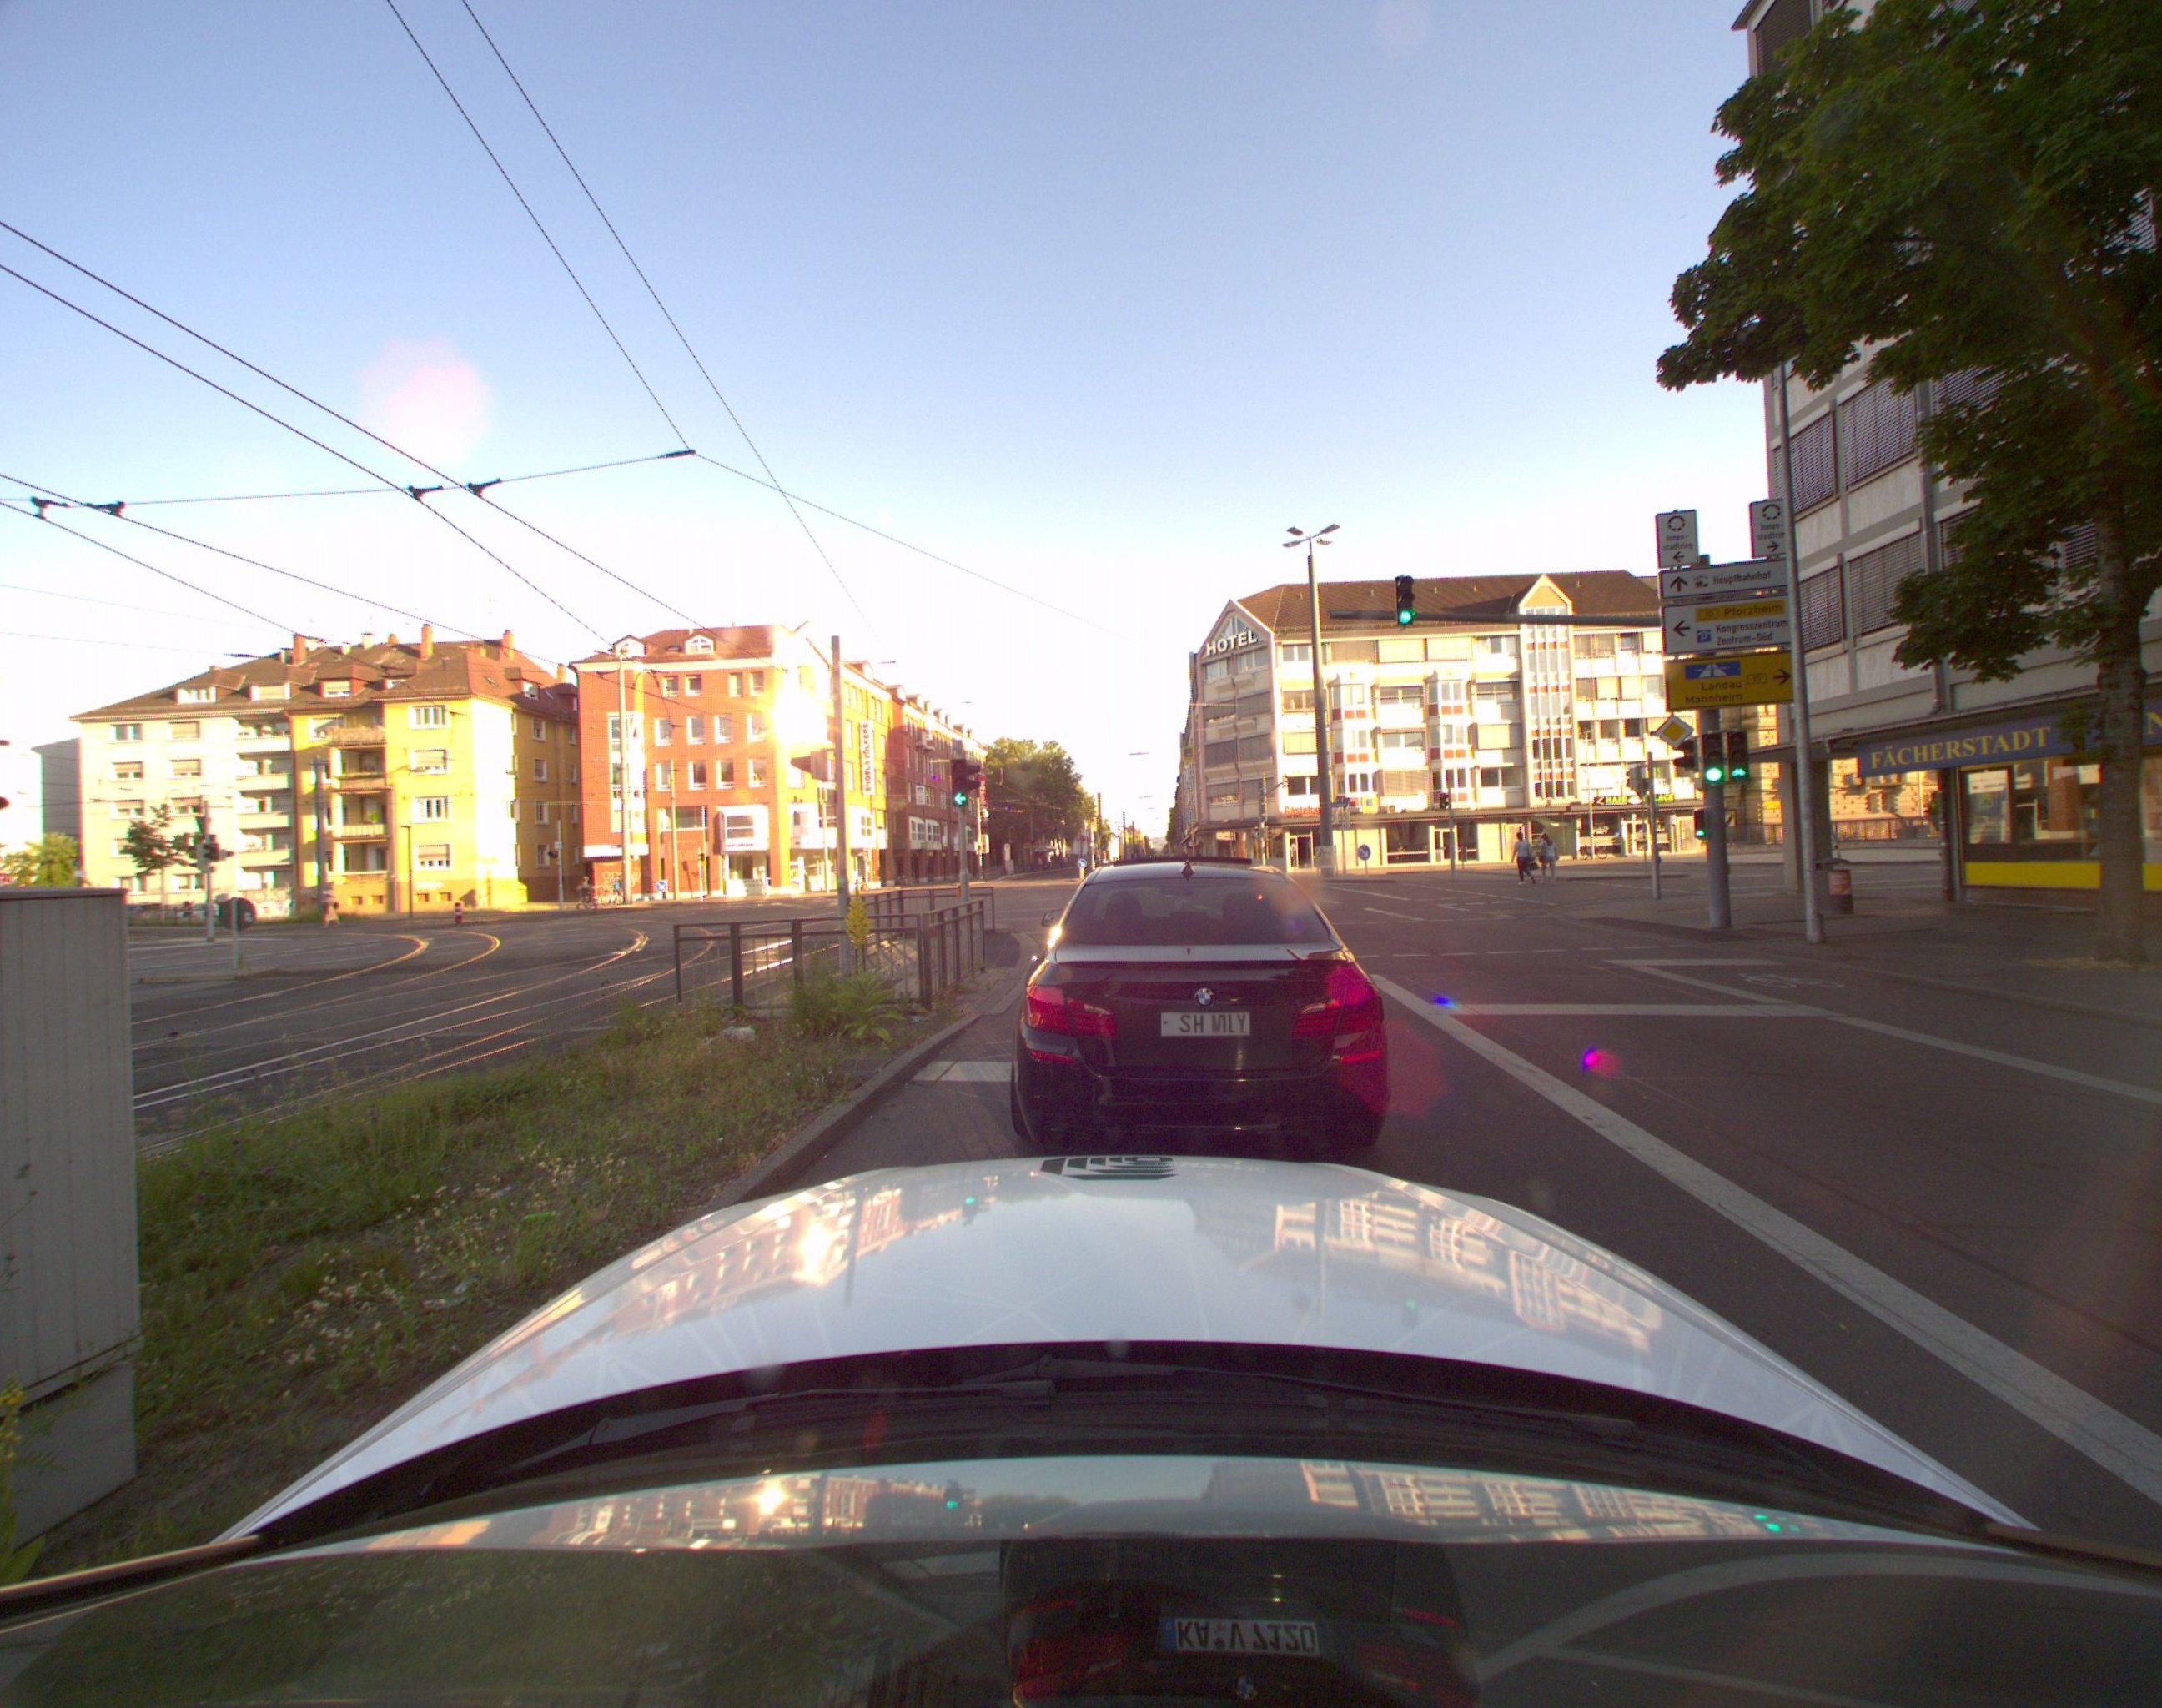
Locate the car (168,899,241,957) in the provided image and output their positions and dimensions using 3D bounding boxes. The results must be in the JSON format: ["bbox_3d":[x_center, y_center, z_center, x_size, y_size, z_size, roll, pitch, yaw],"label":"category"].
[{"bbox_3d":[-58.381,4.910,54.257,1.404,3.553,1.742,32,1,9],"label":"car"}]

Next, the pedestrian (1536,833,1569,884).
[{"bbox_3d":[15.116,0.130,26.126,0.696,1.582,0.831,-3,-1,41],"label":"pedestrian"}]

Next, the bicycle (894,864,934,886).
[{"bbox_3d":[-15.044,1.889,73.460,3.282,1.726,1.070,-3,0,4],"label":"bicycle"}]

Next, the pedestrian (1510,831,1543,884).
[{"bbox_3d":[14.170,0.103,25.893,0.718,1.649,0.776,-3,-1,41],"label":"pedestrian"}]

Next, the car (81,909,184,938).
[{"bbox_3d":[-63.580,4.632,54.633,4.321,1.705,2.118,-2,-3,0],"label":"car"}]

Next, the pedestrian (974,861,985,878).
[{"bbox_3d":[-12.692,1.974,102.080,1.081,2.013,1.085,-3,0,1],"label":"pedestrian"}]

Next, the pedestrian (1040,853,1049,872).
[{"bbox_3d":[-4.024,0.893,89.360,0.805,2.013,0.678,-3,0,2],"label":"pedestrian"}]

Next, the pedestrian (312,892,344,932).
[{"bbox_3d":[-30.581,2.348,33.081,0.629,1.541,0.711,-3,0,18],"label":"pedestrian"}]

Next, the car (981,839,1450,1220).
[{"bbox_3d":[0.594,0.702,5.359,1.834,1.495,4.294,0,0,2],"label":"car"}]

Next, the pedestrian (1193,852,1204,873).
[{"bbox_3d":[9.114,0.633,63.190,0.703,1.548,0.907,-1,3,2],"label":"pedestrian"}]

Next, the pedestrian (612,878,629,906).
[{"bbox_3d":[-30.726,2.512,54.357,0.636,1.778,0.814,-2,0,-5],"label":"pedestrian"}]

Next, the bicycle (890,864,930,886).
[{"bbox_3d":[-15.167,1.859,72.295,3.281,1.726,1.071,-3,0,5],"label":"bicycle"}]
